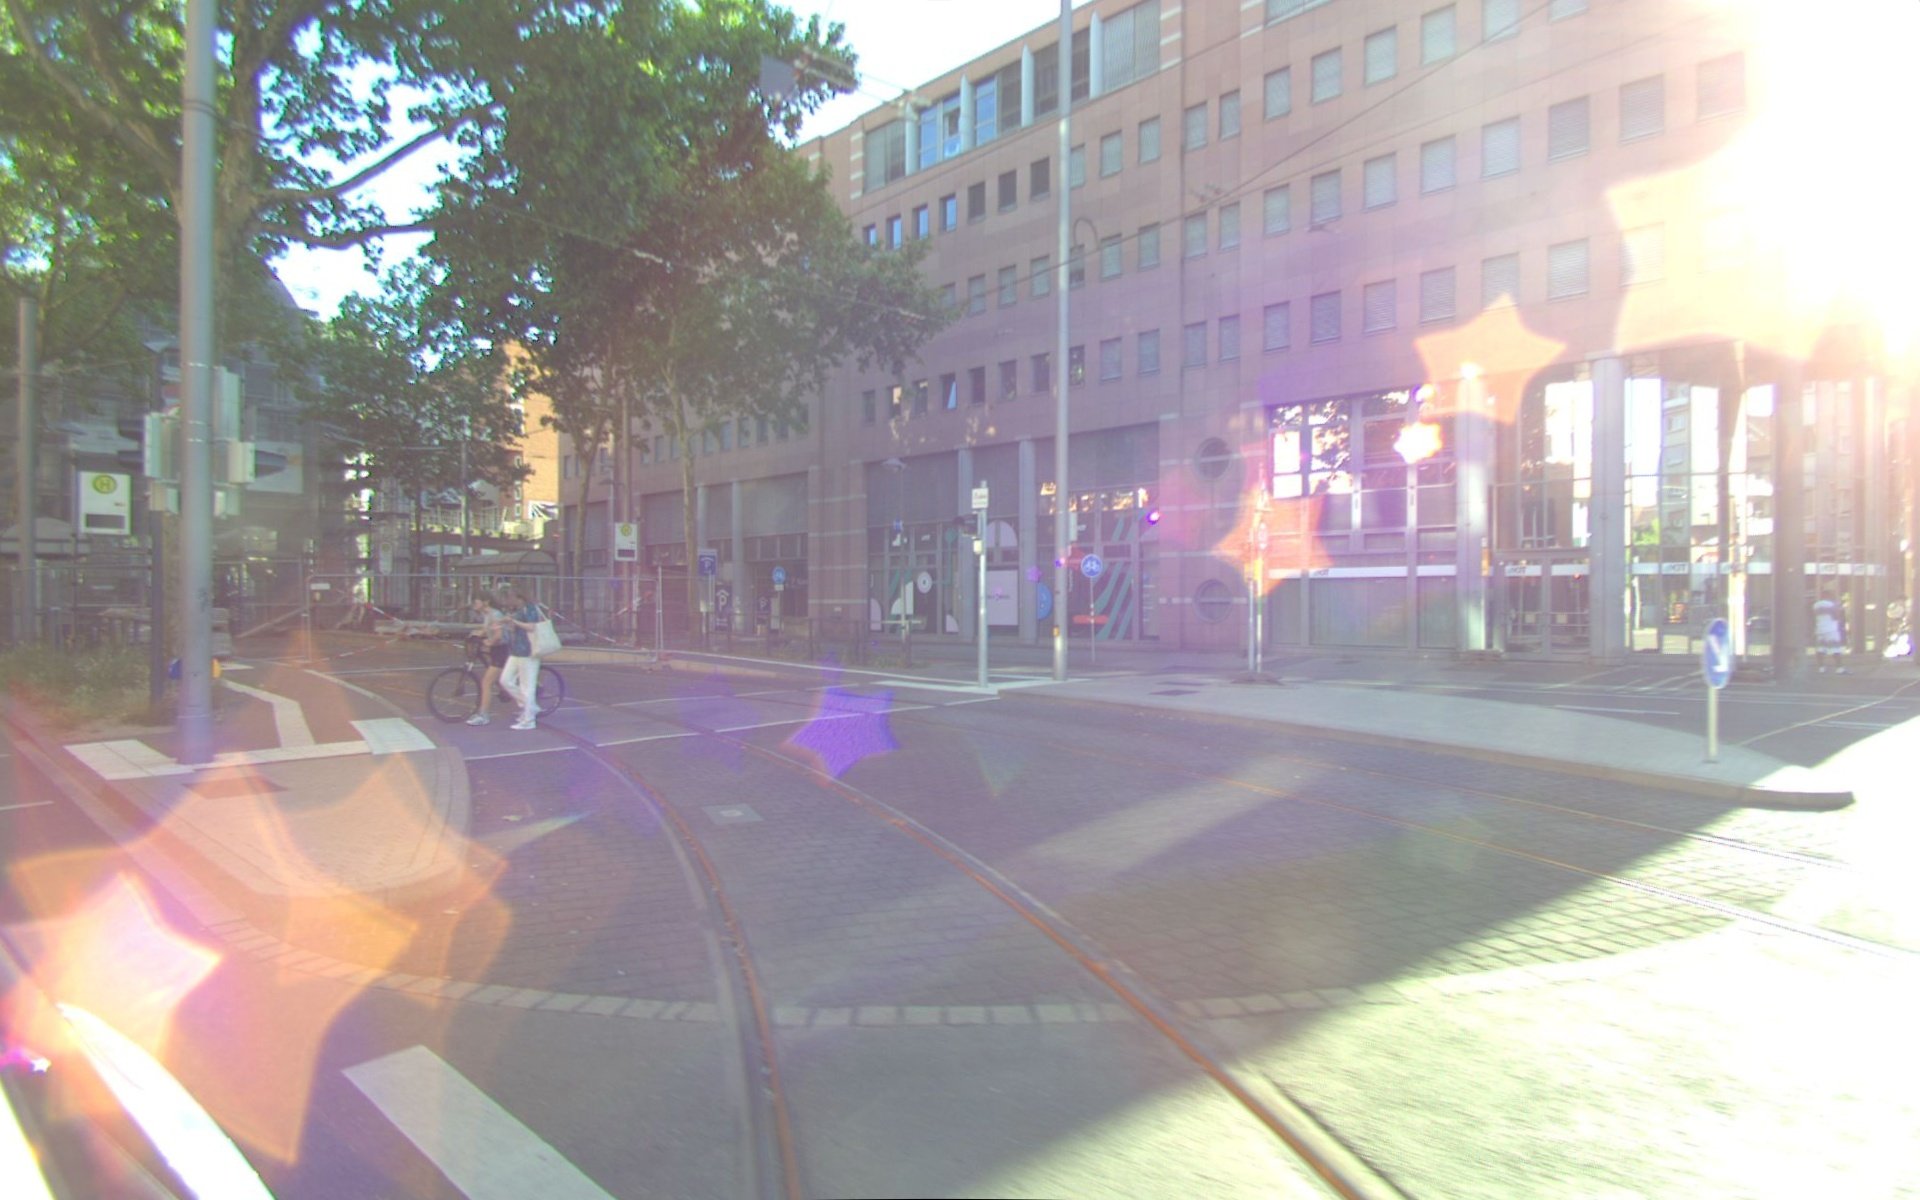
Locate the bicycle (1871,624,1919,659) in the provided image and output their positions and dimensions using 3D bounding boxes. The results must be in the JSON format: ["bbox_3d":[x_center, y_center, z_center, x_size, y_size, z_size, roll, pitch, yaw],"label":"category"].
[{"bbox_3d":[26.125,1.135,27.783,0.576,0.919,1.962,0,-1,6],"label":"bicycle"}]

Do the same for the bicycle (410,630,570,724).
[{"bbox_3d":[-5.955,0.942,12.906,0.481,1.087,1.809,0,0,43],"label":"bicycle"}]

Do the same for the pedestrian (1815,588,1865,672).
[{"bbox_3d":[17.575,0.583,20.216,0.723,1.630,0.633,0,0,44],"label":"pedestrian"}]

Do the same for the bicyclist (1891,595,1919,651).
[{"bbox_3d":[26.110,0.627,27.688,0.576,1.496,0.748,-1,-1,6],"label":"bicyclist"}]

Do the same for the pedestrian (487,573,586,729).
[{"bbox_3d":[-4.995,0.572,11.946,0.848,1.747,0.770,0,0,39],"label":"pedestrian"}]

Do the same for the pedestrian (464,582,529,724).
[{"bbox_3d":[-5.696,0.632,12.438,0.531,1.692,0.560,0,0,44],"label":"pedestrian"}]
